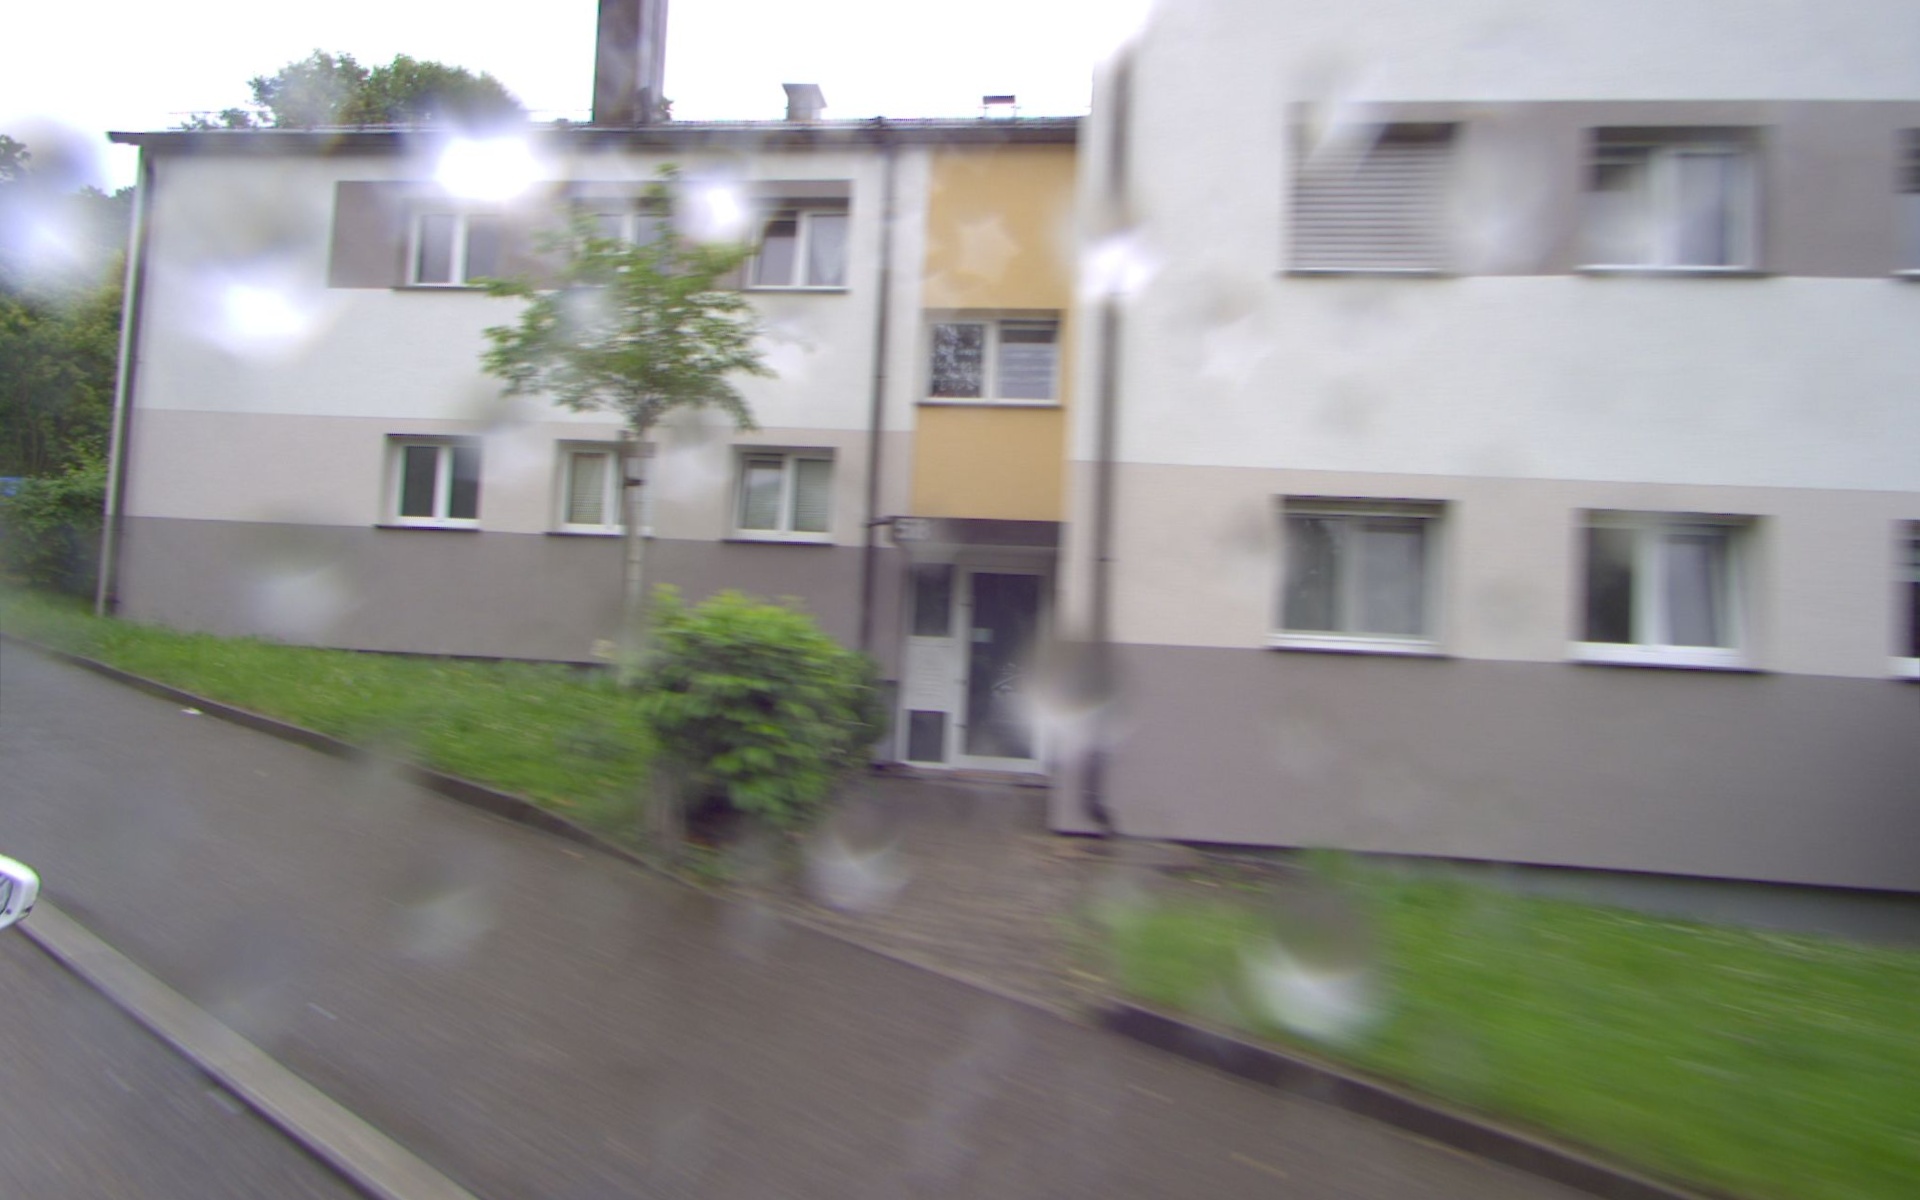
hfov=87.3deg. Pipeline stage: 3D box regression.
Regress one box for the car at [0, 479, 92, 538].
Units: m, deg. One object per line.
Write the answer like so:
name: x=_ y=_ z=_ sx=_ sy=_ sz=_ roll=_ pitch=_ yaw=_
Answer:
car: x=-31.642 y=-3.092 z=33.326 sx=1.695 sy=1.654 sz=4.280 roll=3 pitch=0 yaw=8

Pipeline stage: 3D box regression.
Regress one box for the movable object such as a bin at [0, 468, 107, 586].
movable object such as a bin: x=-13.095 y=-1.021 z=14.178 sx=0.965 sy=1.516 sz=1.244 roll=6 pitch=0 yaw=-3
